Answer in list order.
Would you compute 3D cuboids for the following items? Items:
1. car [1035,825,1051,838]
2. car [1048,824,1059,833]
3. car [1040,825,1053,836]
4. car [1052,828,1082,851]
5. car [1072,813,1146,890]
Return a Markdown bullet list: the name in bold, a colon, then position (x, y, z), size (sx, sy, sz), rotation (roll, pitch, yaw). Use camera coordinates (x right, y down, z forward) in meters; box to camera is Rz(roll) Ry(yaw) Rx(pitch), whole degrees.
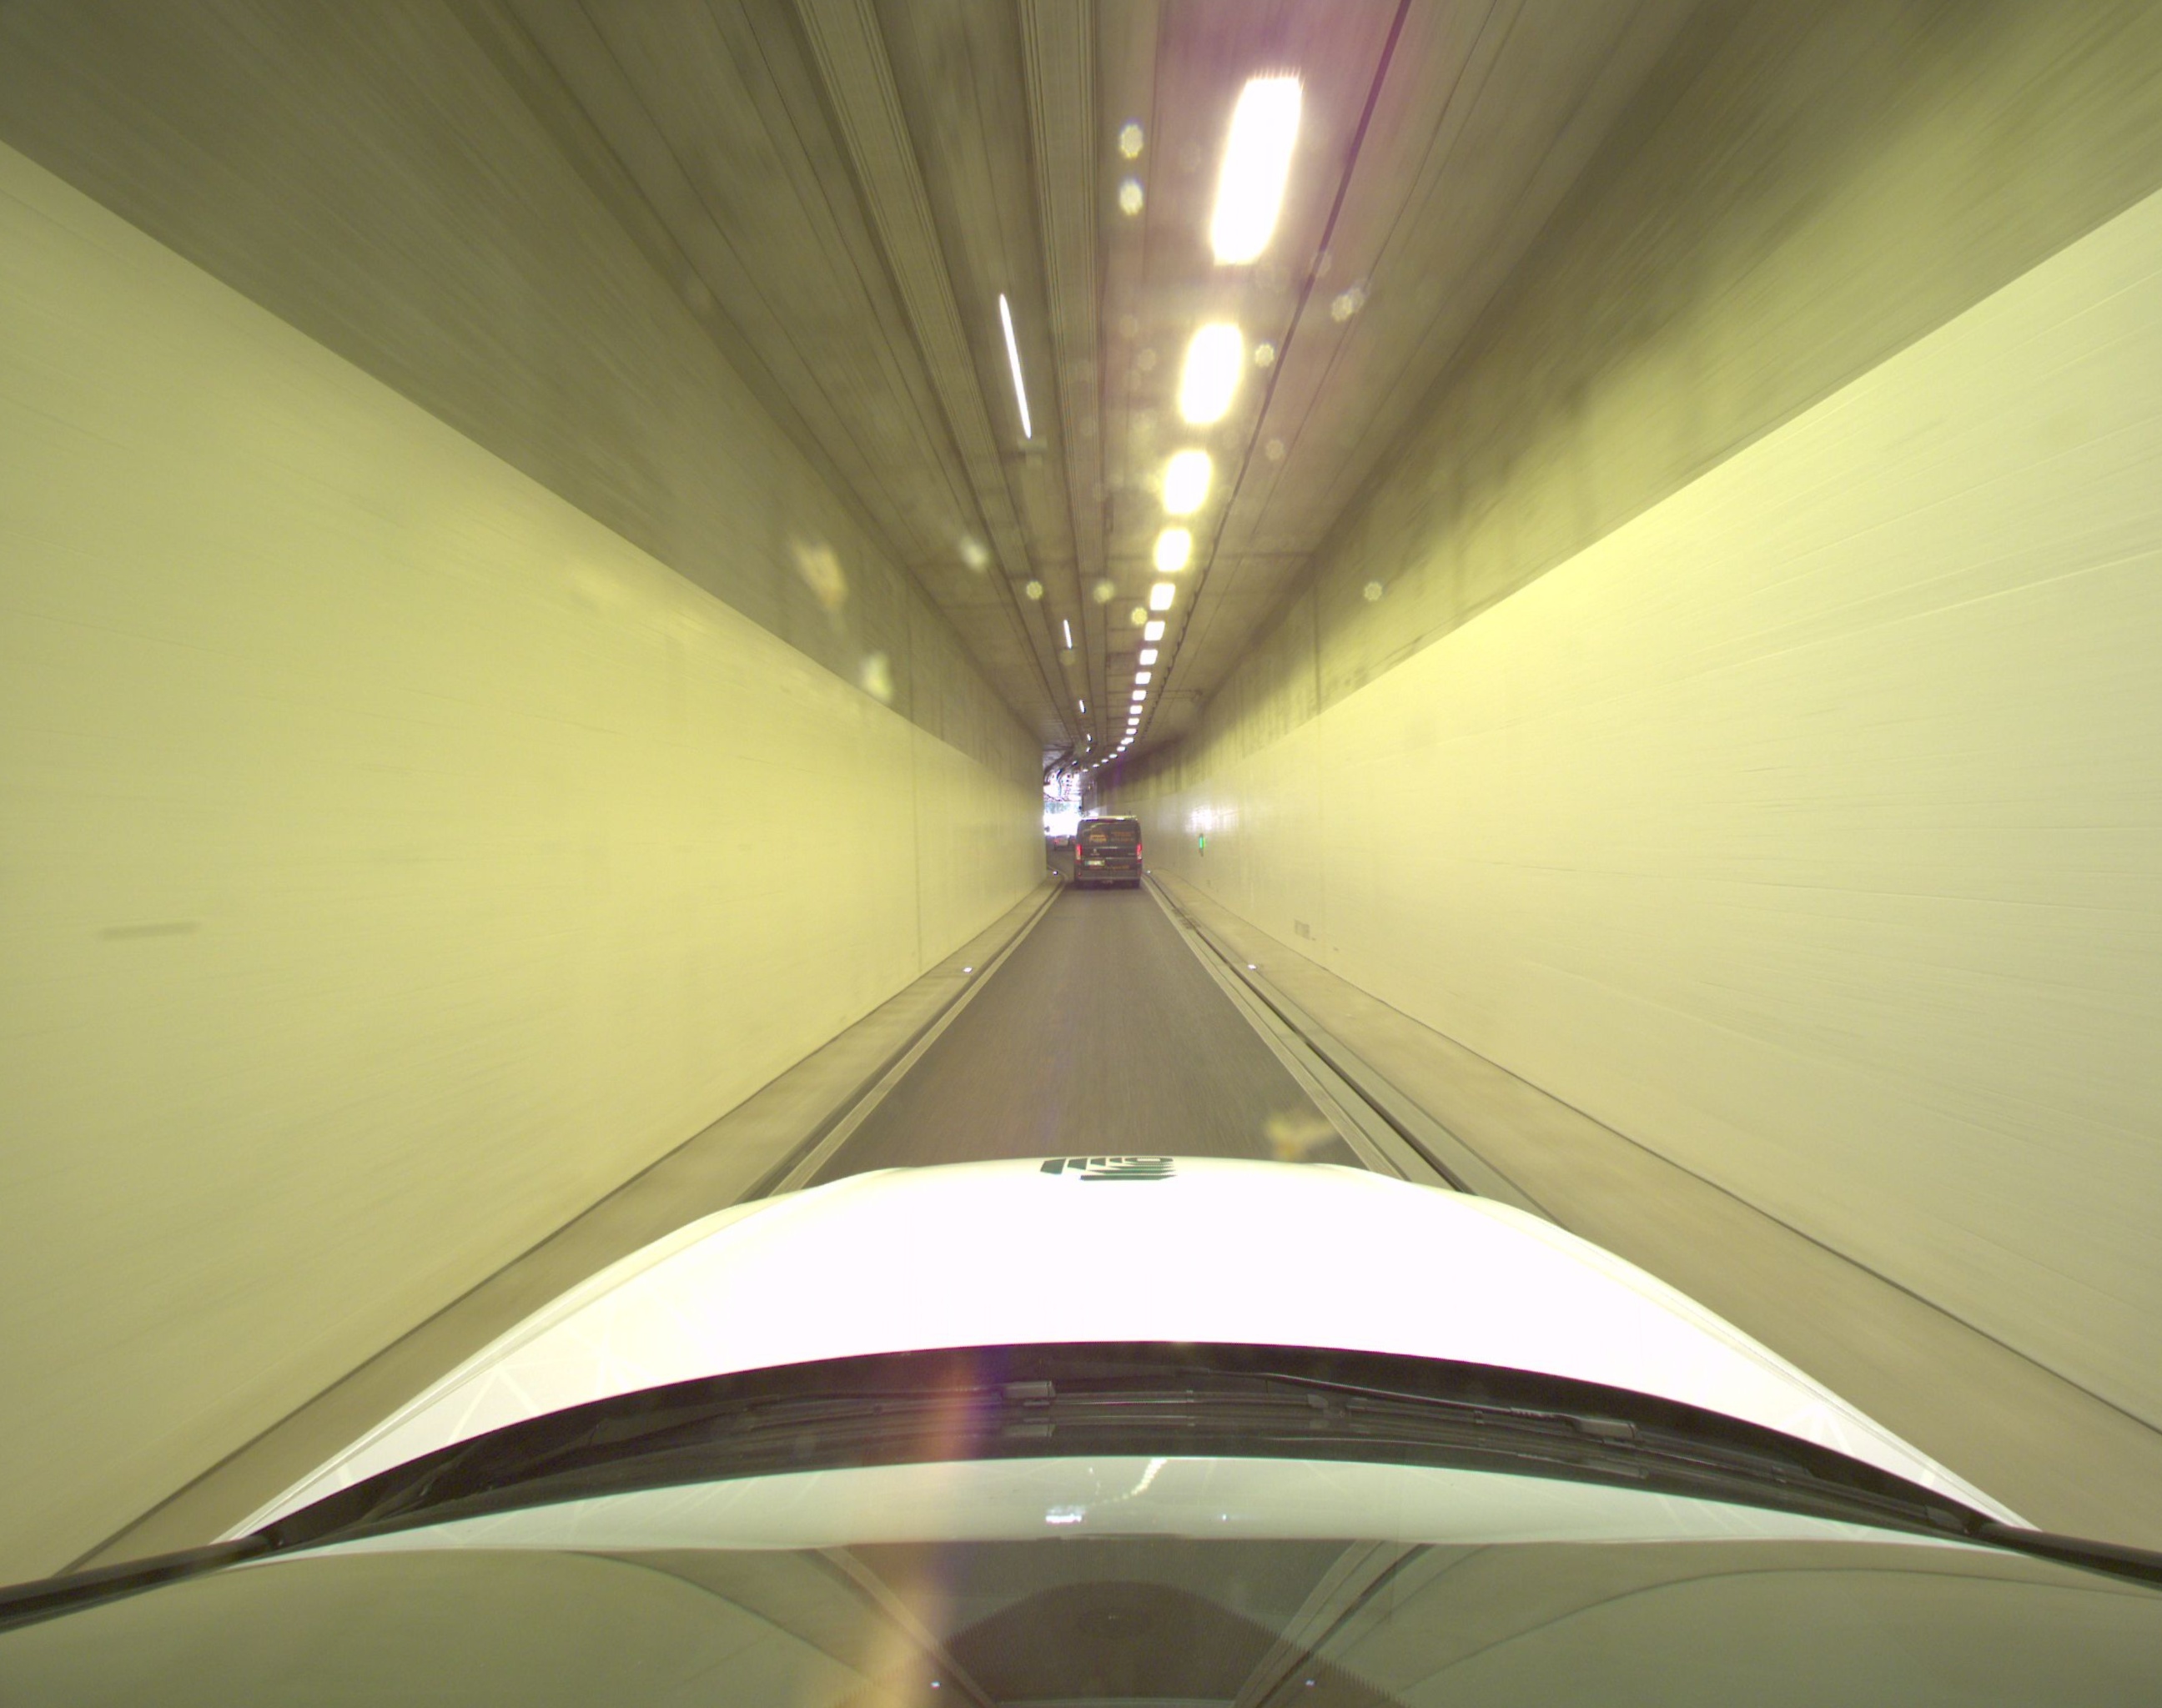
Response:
- **car**: position (-4.572, -2.707, 98.514), size (1.872, 1.624, 4.217), rotation (0, 1, -2)
- **car**: position (-5.021, -4.689, 147.933), size (1.872, 1.624, 4.217), rotation (0, 1, -2)
- **car**: position (-5.091, -3.407, 120.021), size (1.872, 1.624, 4.217), rotation (0, 1, -2)
- **car**: position (-1.011, -1.107, 60.088), size (2.078, 1.513, 4.637), rotation (-2, 2, 0)
- **car**: position (0.915, -0.166, 26.711), size (2.150, 2.265, 4.639), rotation (-2, 2, 1)
